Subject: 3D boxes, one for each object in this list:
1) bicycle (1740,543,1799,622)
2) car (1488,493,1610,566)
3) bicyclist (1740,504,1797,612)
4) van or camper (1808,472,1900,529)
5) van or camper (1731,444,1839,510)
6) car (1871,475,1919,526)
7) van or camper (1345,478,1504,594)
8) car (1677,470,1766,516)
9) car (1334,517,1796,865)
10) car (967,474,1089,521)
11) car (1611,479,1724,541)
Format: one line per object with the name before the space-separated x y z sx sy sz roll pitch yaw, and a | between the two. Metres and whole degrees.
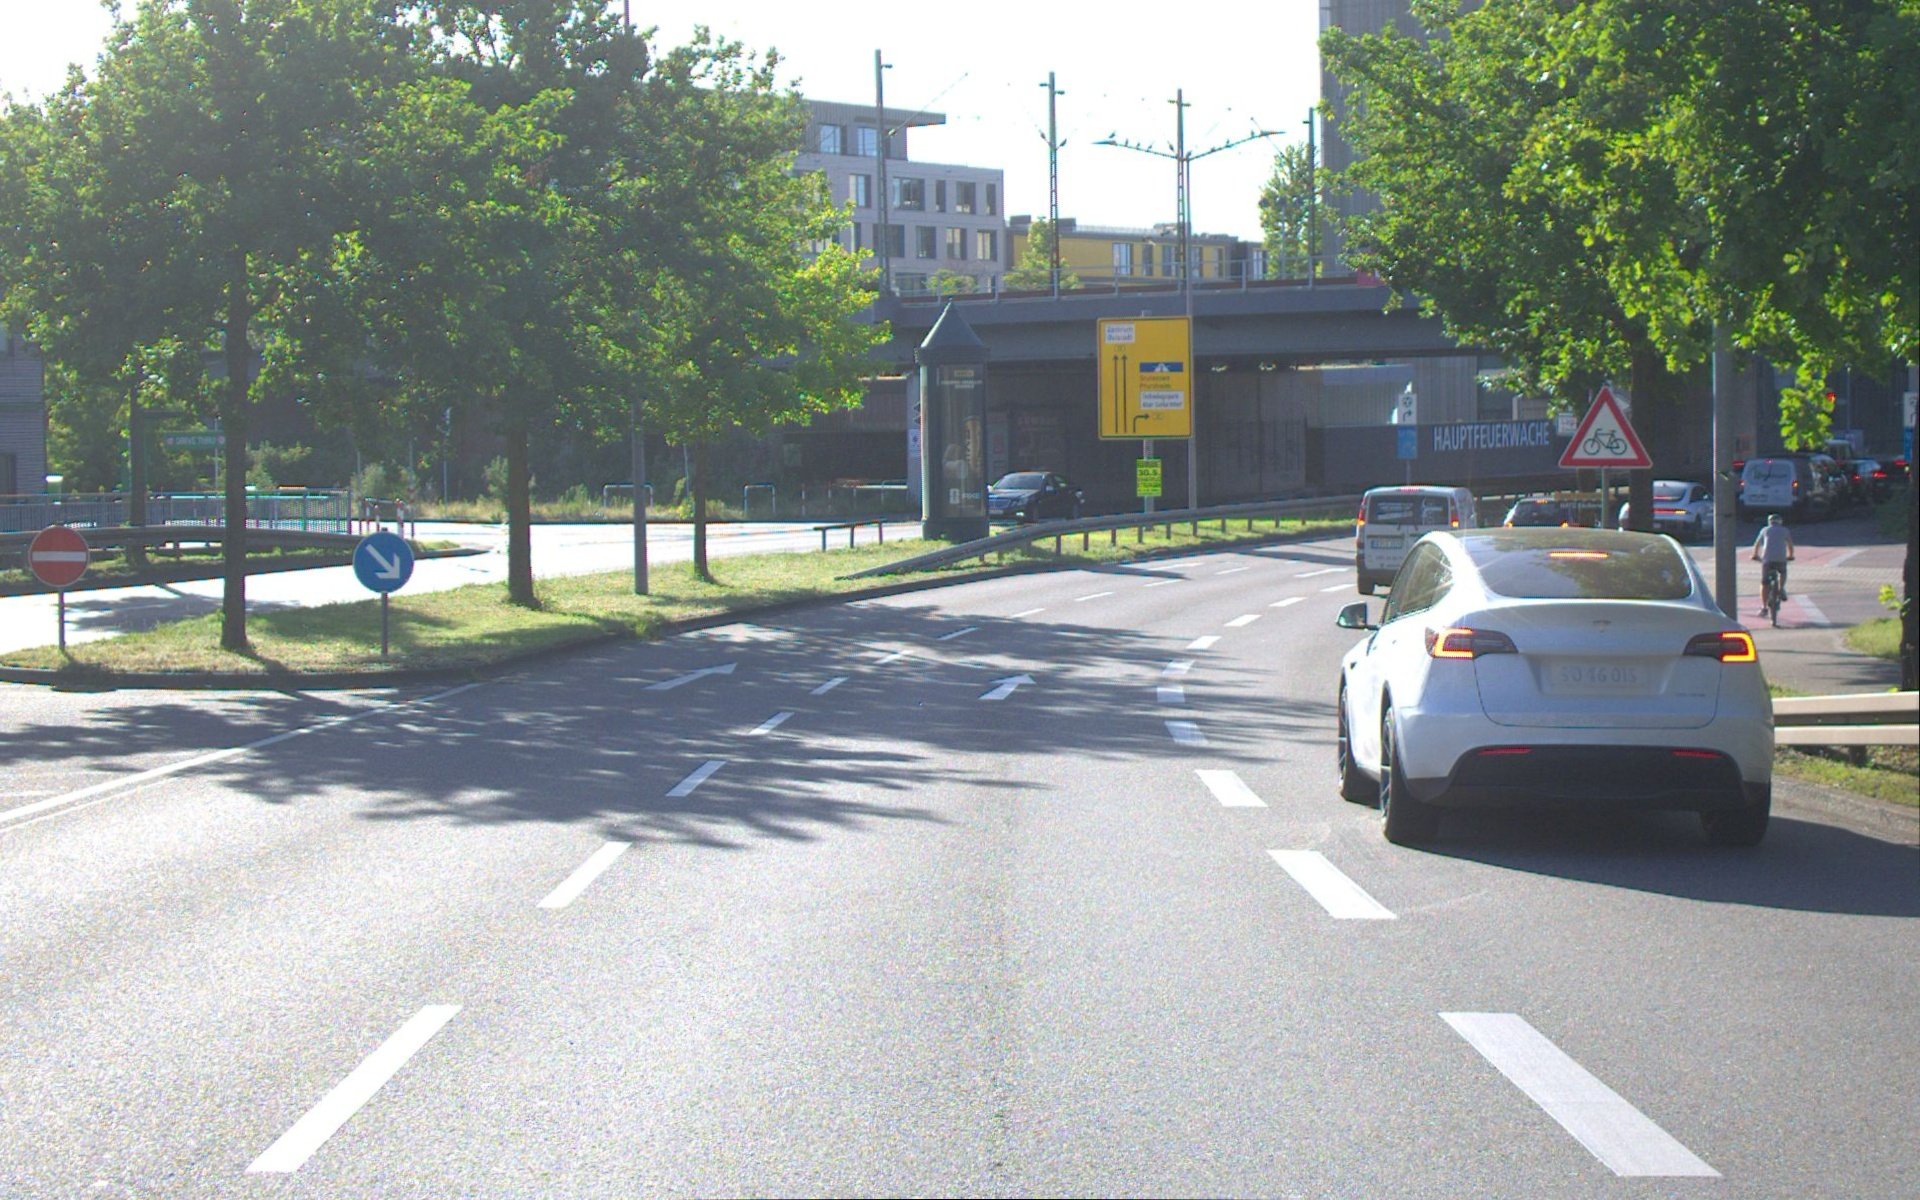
bicycle | 12.415 -0.275 52.674 0.743 1.108 2.450 -2 2 16
car | 13.013 -1.574 75.863 1.606 1.429 3.673 2 4 27
bicyclist | 12.387 -0.648 52.669 0.746 1.613 0.912 -2 2 16
van or camper | 29.924 -3.346 114.986 1.757 1.807 3.951 2 4 34
van or camper | 23.700 -3.548 98.672 1.828 1.784 4.538 2 4 29
car | 30.256 -3.157 108.734 1.711 1.517 3.736 2 4 33
van or camper | 8.244 -1.171 60.716 1.960 1.877 4.876 1 3 18
car | 25.730 -3.621 116.090 1.711 1.447 3.736 2 4 33
car | 3.127 0.385 18.619 1.914 1.635 4.410 -1 1 3
car | 1.985 -2.945 98.628 1.802 1.305 4.610 2 2 24
car | 17.747 -2.277 86.113 1.766 1.470 4.283 1 3 26
